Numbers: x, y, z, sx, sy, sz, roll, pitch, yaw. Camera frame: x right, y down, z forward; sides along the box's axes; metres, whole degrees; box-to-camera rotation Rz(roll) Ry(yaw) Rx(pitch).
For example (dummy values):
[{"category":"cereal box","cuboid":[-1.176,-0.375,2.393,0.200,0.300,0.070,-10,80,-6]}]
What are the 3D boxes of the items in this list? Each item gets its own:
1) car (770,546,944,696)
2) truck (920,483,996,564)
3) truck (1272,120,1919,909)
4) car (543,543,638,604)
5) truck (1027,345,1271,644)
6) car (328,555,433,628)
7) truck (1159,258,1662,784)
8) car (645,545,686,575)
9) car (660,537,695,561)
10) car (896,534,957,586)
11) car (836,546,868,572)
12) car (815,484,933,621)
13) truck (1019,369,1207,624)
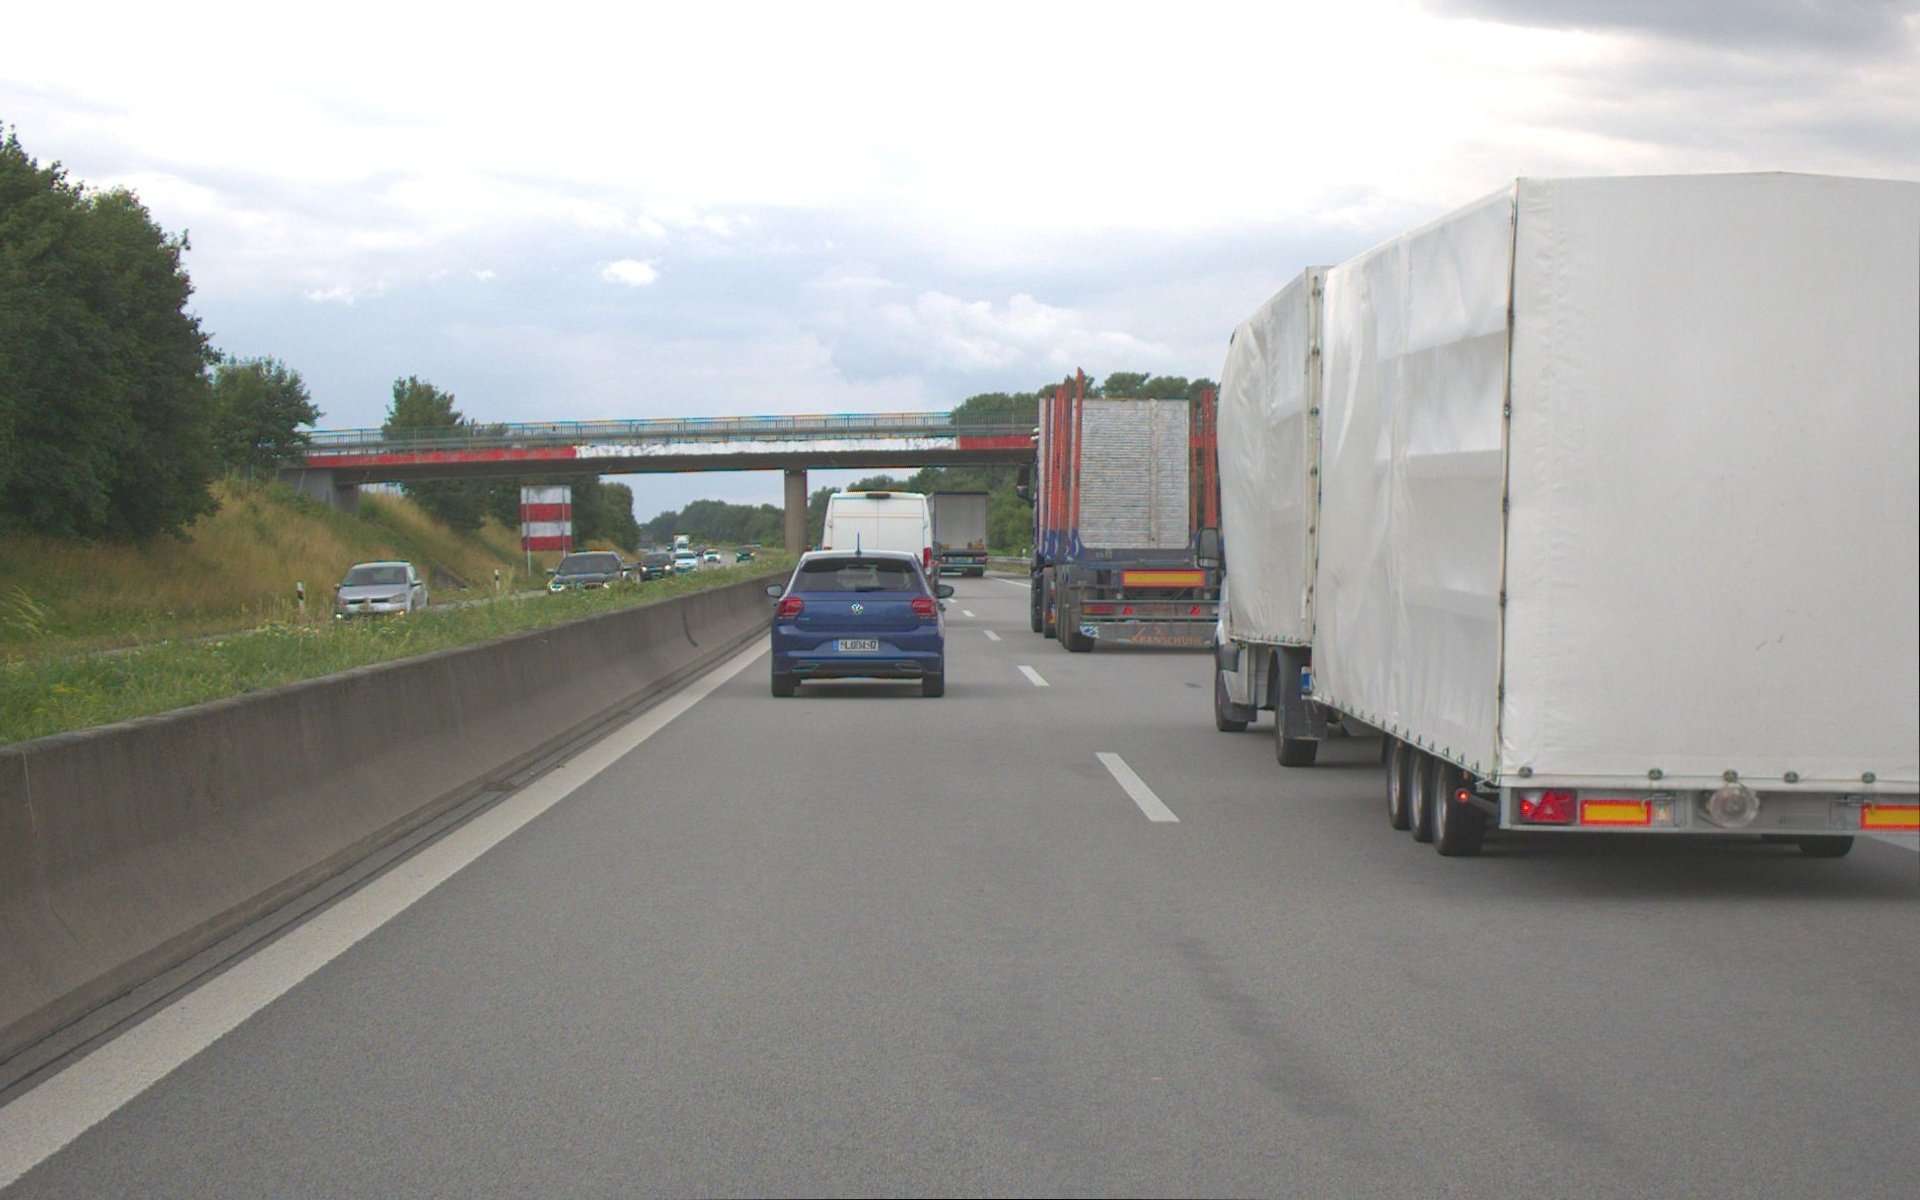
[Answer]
[{"category":"car","cuboid":[-1.038,0.169,34.740,1.663,1.402,3.649,0,1,-2]},{"category":"truck","cuboid":[-0.153,-3.676,166.232,3.110,3.677,9.324,-2,1,-2]},{"category":"truck","cuboid":[3.262,-0.413,17.601,2.415,3.211,7.144,0,1,-2]},{"category":"car","cuboid":[-9.091,-0.671,84.842,1.848,1.373,4.601,-3,1,-1]},{"category":"truck","cuboid":[2.681,-1.586,52.275,2.673,4.031,11.109,-1,2,-2]},{"category":"car","cuboid":[-12.311,-0.202,73.210,1.646,1.404,3.888,-3,1,-2]},{"category":"truck","cuboid":[2.989,-0.553,24.822,2.429,3.232,7.248,0,1,-2]},{"category":"car","cuboid":[-14.501,-1.970,169.531,1.646,1.373,4.235,-3,1,-1]},{"category":"car","cuboid":[-18.298,-3.320,223.018,1.895,1.456,4.542,-3,1,-1]},{"category":"car","cuboid":[-0.957,-1.145,97.312,1.663,1.402,3.649,0,1,-2]},{"category":"car","cuboid":[-6.891,-2.615,219.402,1.993,1.678,4.000,0,1,-1]},{"category":"car","cuboid":[-1.621,-0.922,65.545,2.130,2.474,5.840,-1,1,-1]},{"category":"truck","cuboid":[2.490,-1.733,57.663,2.673,4.031,5.513,-1,2,-2]}]
